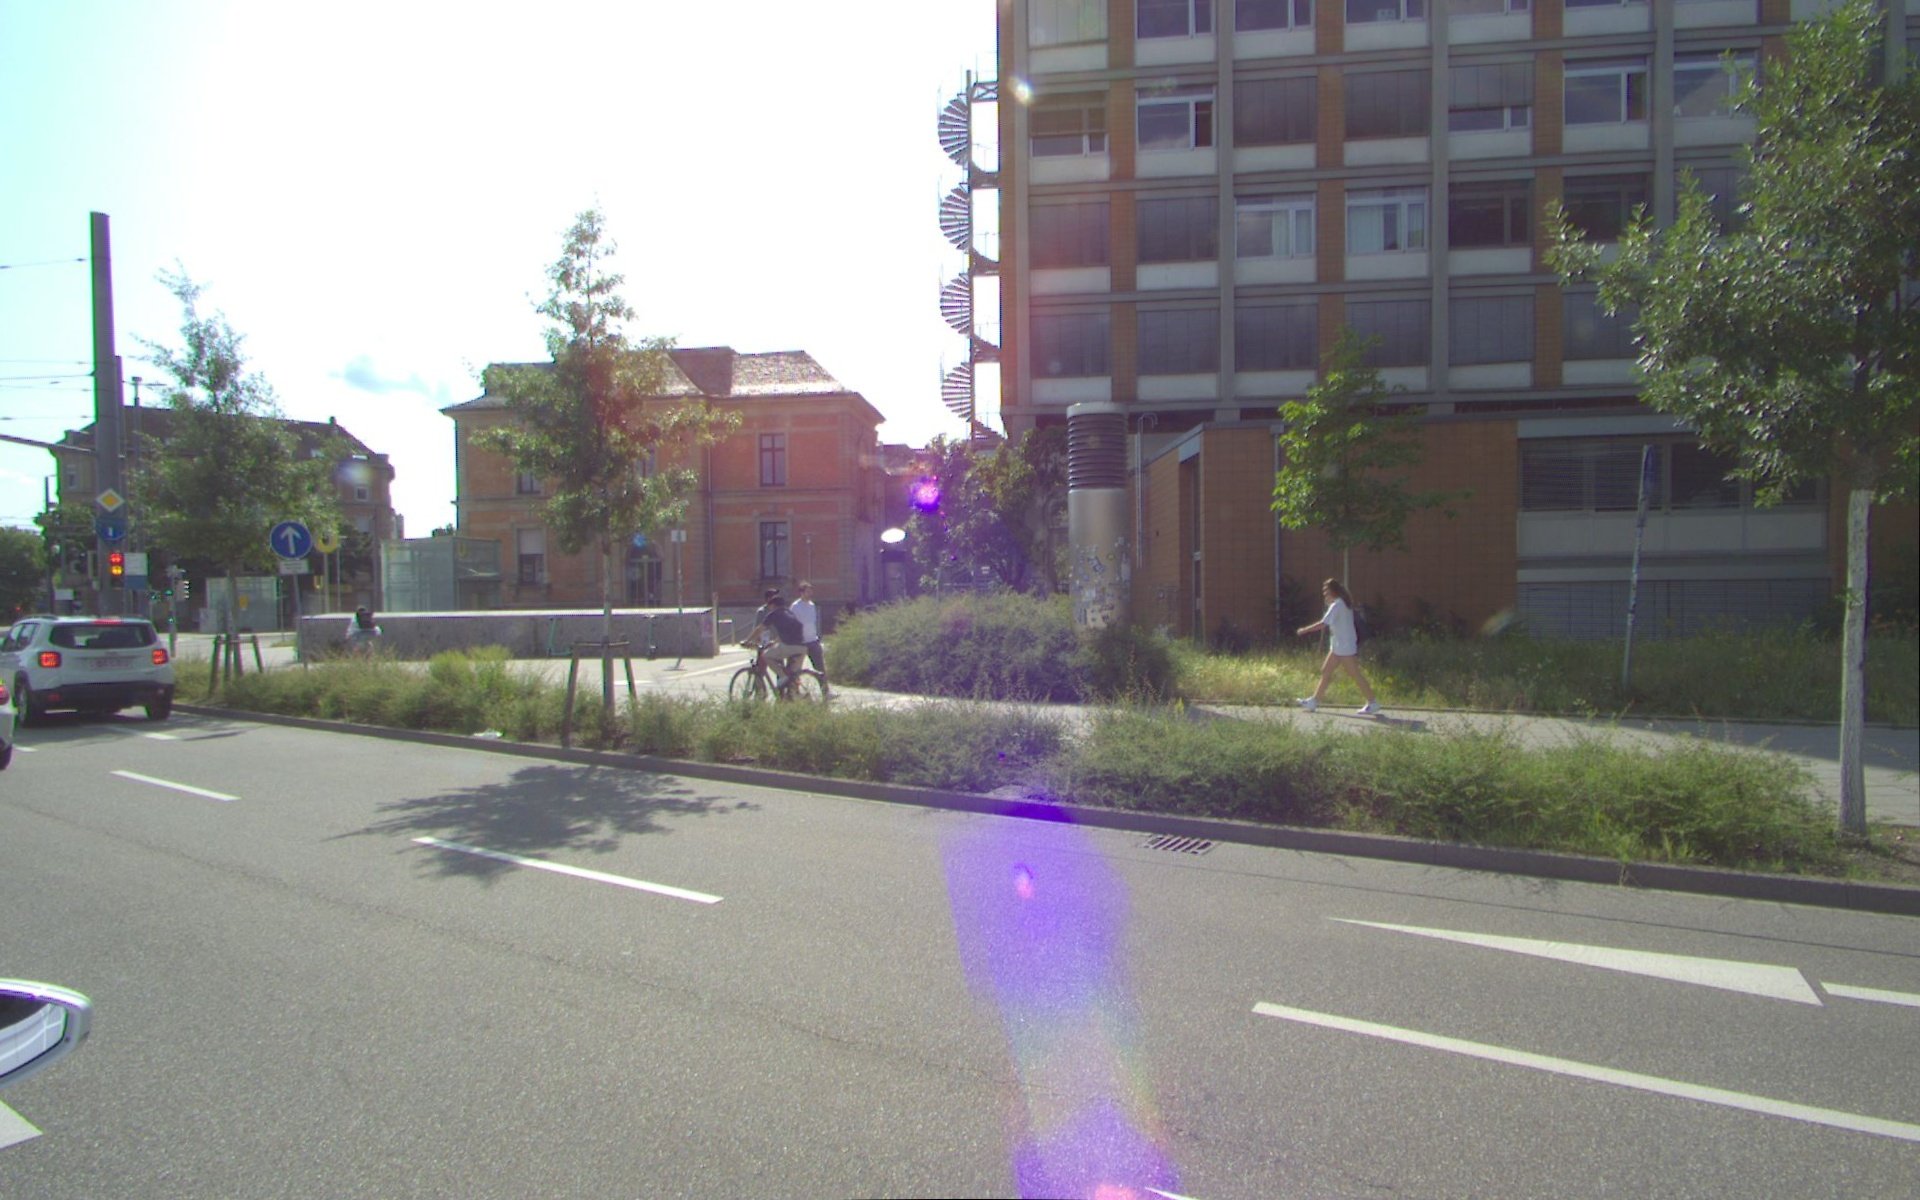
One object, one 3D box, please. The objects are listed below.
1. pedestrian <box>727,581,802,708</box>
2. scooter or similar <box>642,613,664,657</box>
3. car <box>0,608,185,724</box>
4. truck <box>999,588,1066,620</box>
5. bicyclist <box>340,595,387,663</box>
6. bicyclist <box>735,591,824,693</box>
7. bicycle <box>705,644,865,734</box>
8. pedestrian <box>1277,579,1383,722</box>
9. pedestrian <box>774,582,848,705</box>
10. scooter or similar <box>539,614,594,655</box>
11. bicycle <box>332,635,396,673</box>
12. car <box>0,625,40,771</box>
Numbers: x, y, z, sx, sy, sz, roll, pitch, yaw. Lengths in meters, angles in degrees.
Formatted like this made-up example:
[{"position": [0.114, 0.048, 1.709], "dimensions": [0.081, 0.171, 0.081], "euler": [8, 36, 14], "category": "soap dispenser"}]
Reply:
[{"position": [-2.879, 0.629, 14.720], "dimensions": [0.734, 1.778, 0.884], "euler": [-4, 3, -34], "category": "pedestrian"}, {"position": [-8.334, 0.935, 27.230], "dimensions": [0.457, 1.119, 1.316], "euler": [-1, 1, -13], "category": "scooter or similar"}, {"position": [-14.411, 1.008, 16.418], "dimensions": [3.951, 1.673, 1.829], "euler": [-2, -1, 39], "category": "car"}, {"position": [4.921, 0.283, 67.491], "dimensions": [4.304, 2.039, 2.000], "euler": [0, -2, 11], "category": "truck"}, {"position": [-13.162, 0.641, 22.107], "dimensions": [0.763, 1.470, 0.606], "euler": [0, 0, 33], "category": "bicyclist"}, {"position": [-2.310, 0.519, 12.805], "dimensions": [0.911, 1.237, 0.633], "euler": [0, 3, 34], "category": "bicyclist"}, {"position": [-2.239, 1.094, 12.738], "dimensions": [1.933, 0.983, 0.844], "euler": [-1, 3, 34], "category": "bicycle"}, {"position": [4.492, 0.592, 12.153], "dimensions": [1.080, 1.645, 0.612], "euler": [-1, 3, 31], "category": "pedestrian"}, {"position": [-2.260, 0.632, 15.161], "dimensions": [0.734, 1.770, 0.884], "euler": [-4, 3, -34], "category": "pedestrian"}, {"position": [-11.246, 0.988, 28.609], "dimensions": [1.420, 1.133, 0.465], "euler": [0, 2, 13], "category": "scooter or similar"}, {"position": [-13.159, 1.185, 22.112], "dimensions": [1.599, 0.786, 0.583], "euler": [-1, 0, 34], "category": "bicycle"}, {"position": [-11.314, 0.997, 10.464], "dimensions": [3.631, 1.437, 1.844], "euler": [-1, -1, 36], "category": "car"}]
